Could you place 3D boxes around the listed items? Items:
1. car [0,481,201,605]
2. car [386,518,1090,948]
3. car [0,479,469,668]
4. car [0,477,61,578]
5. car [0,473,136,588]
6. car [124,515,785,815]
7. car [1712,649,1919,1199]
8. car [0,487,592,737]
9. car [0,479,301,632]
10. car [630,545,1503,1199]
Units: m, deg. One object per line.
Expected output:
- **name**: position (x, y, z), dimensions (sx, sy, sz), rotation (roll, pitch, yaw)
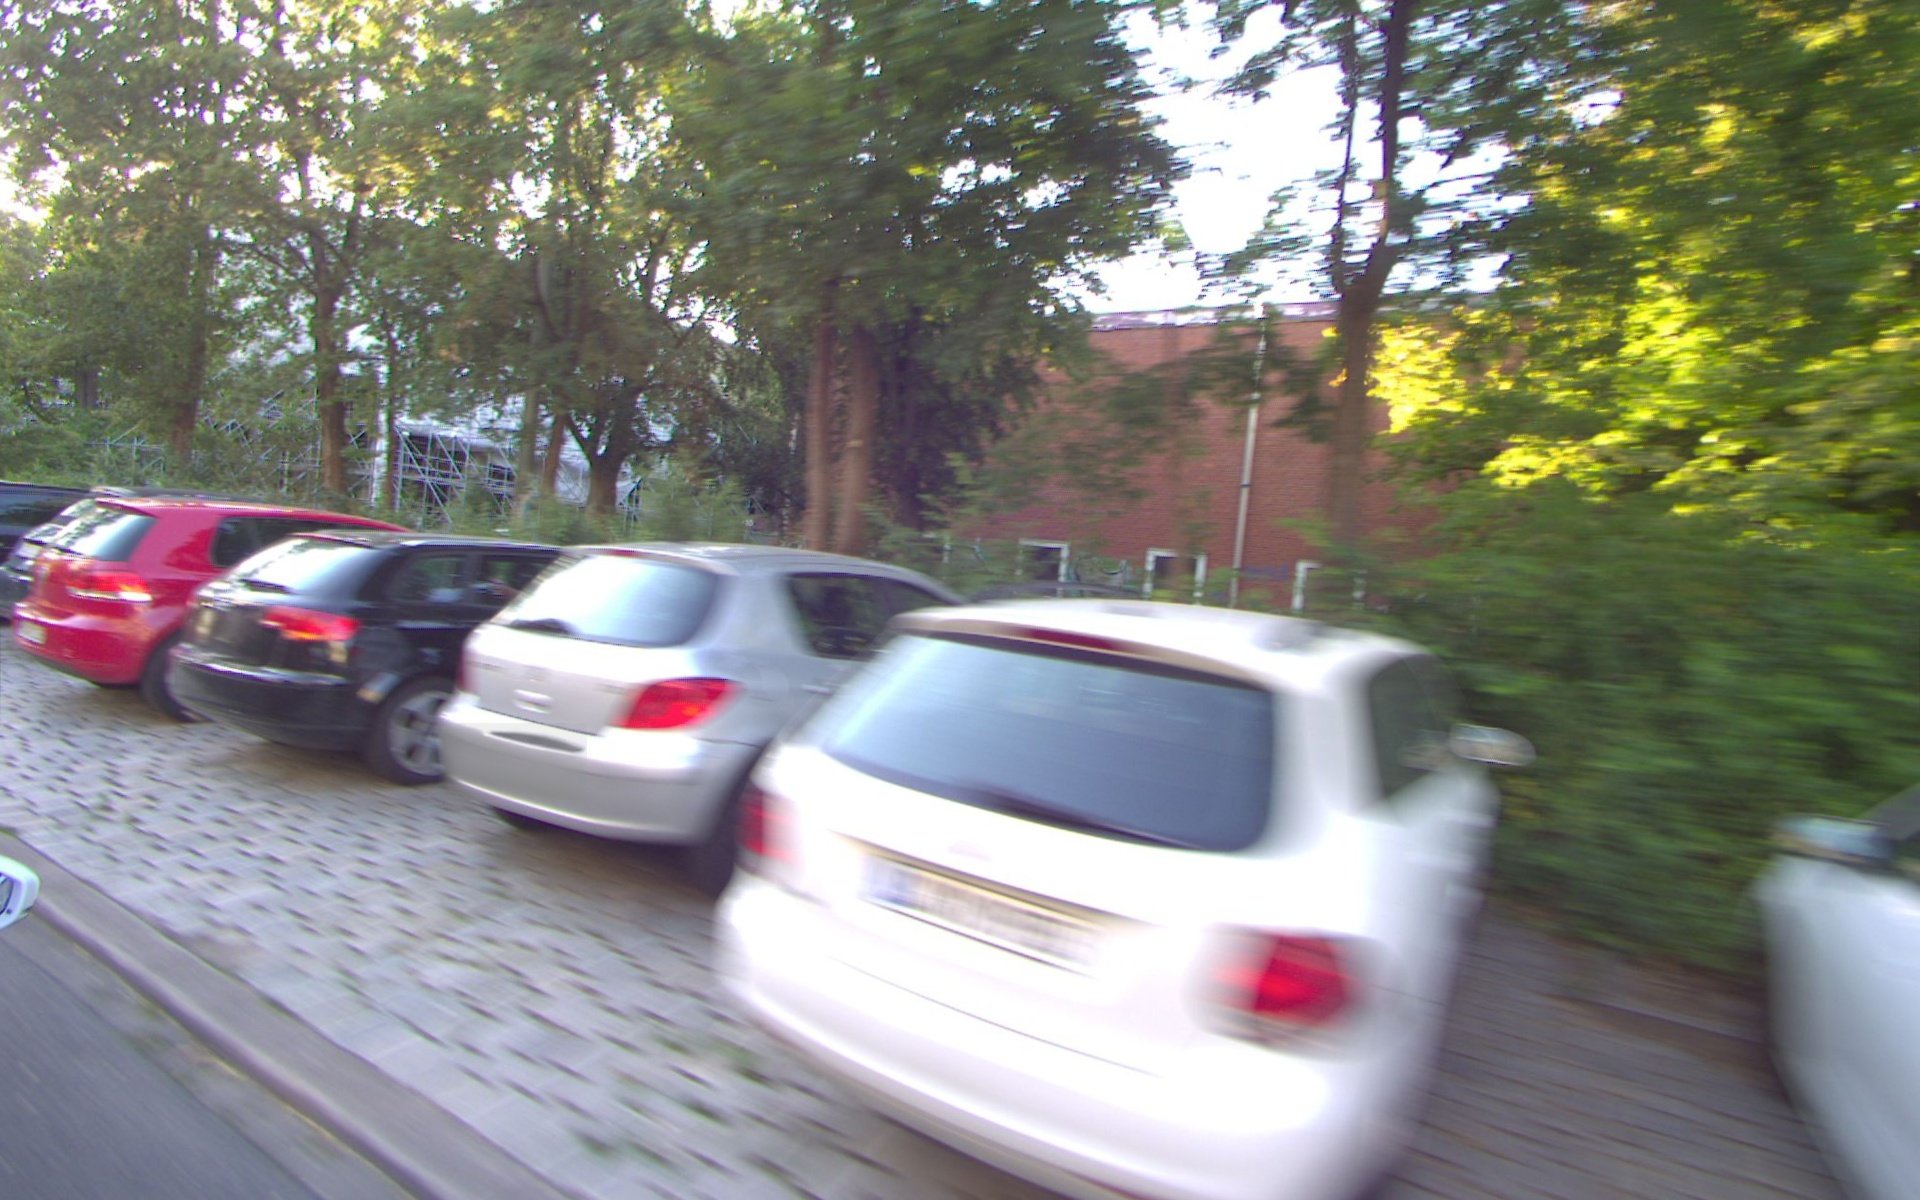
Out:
- **car**: position (-12.177, -0.756, 12.569), dimensions (1.802, 1.474, 3.921), rotation (7, 3, 33)
- **car**: position (-0.898, 0.449, 5.747), dimensions (1.790, 1.519, 3.723), rotation (6, 4, 32)
- **car**: position (-7.239, -0.287, 10.057), dimensions (1.802, 1.495, 3.805), rotation (6, 4, 32)
- **car**: position (-16.243, -1.206, 14.687), dimensions (1.713, 1.496, 4.335), rotation (8, 4, 32)
- **car**: position (-14.185, -1.044, 14.089), dimensions (1.711, 1.577, 3.713), rotation (6, 3, 28)
- **car**: position (-3.160, 0.280, 6.998), dimensions (1.727, 1.415, 3.746), rotation (6, 4, 32)
- **car**: position (2.892, 1.025, 1.935), dimensions (1.705, 1.465, 3.665), rotation (7, 4, 29)
- **car**: position (-5.171, 0.011, 8.197), dimensions (1.727, 1.495, 3.805), rotation (6, 4, 32)
- **car**: position (-9.826, -0.512, 10.880), dimensions (1.802, 1.495, 4.117), rotation (7, 3, 32)
- **car**: position (0.867, 0.723, 3.641), dimensions (1.705, 1.574, 3.665), rotation (7, 4, 29)
